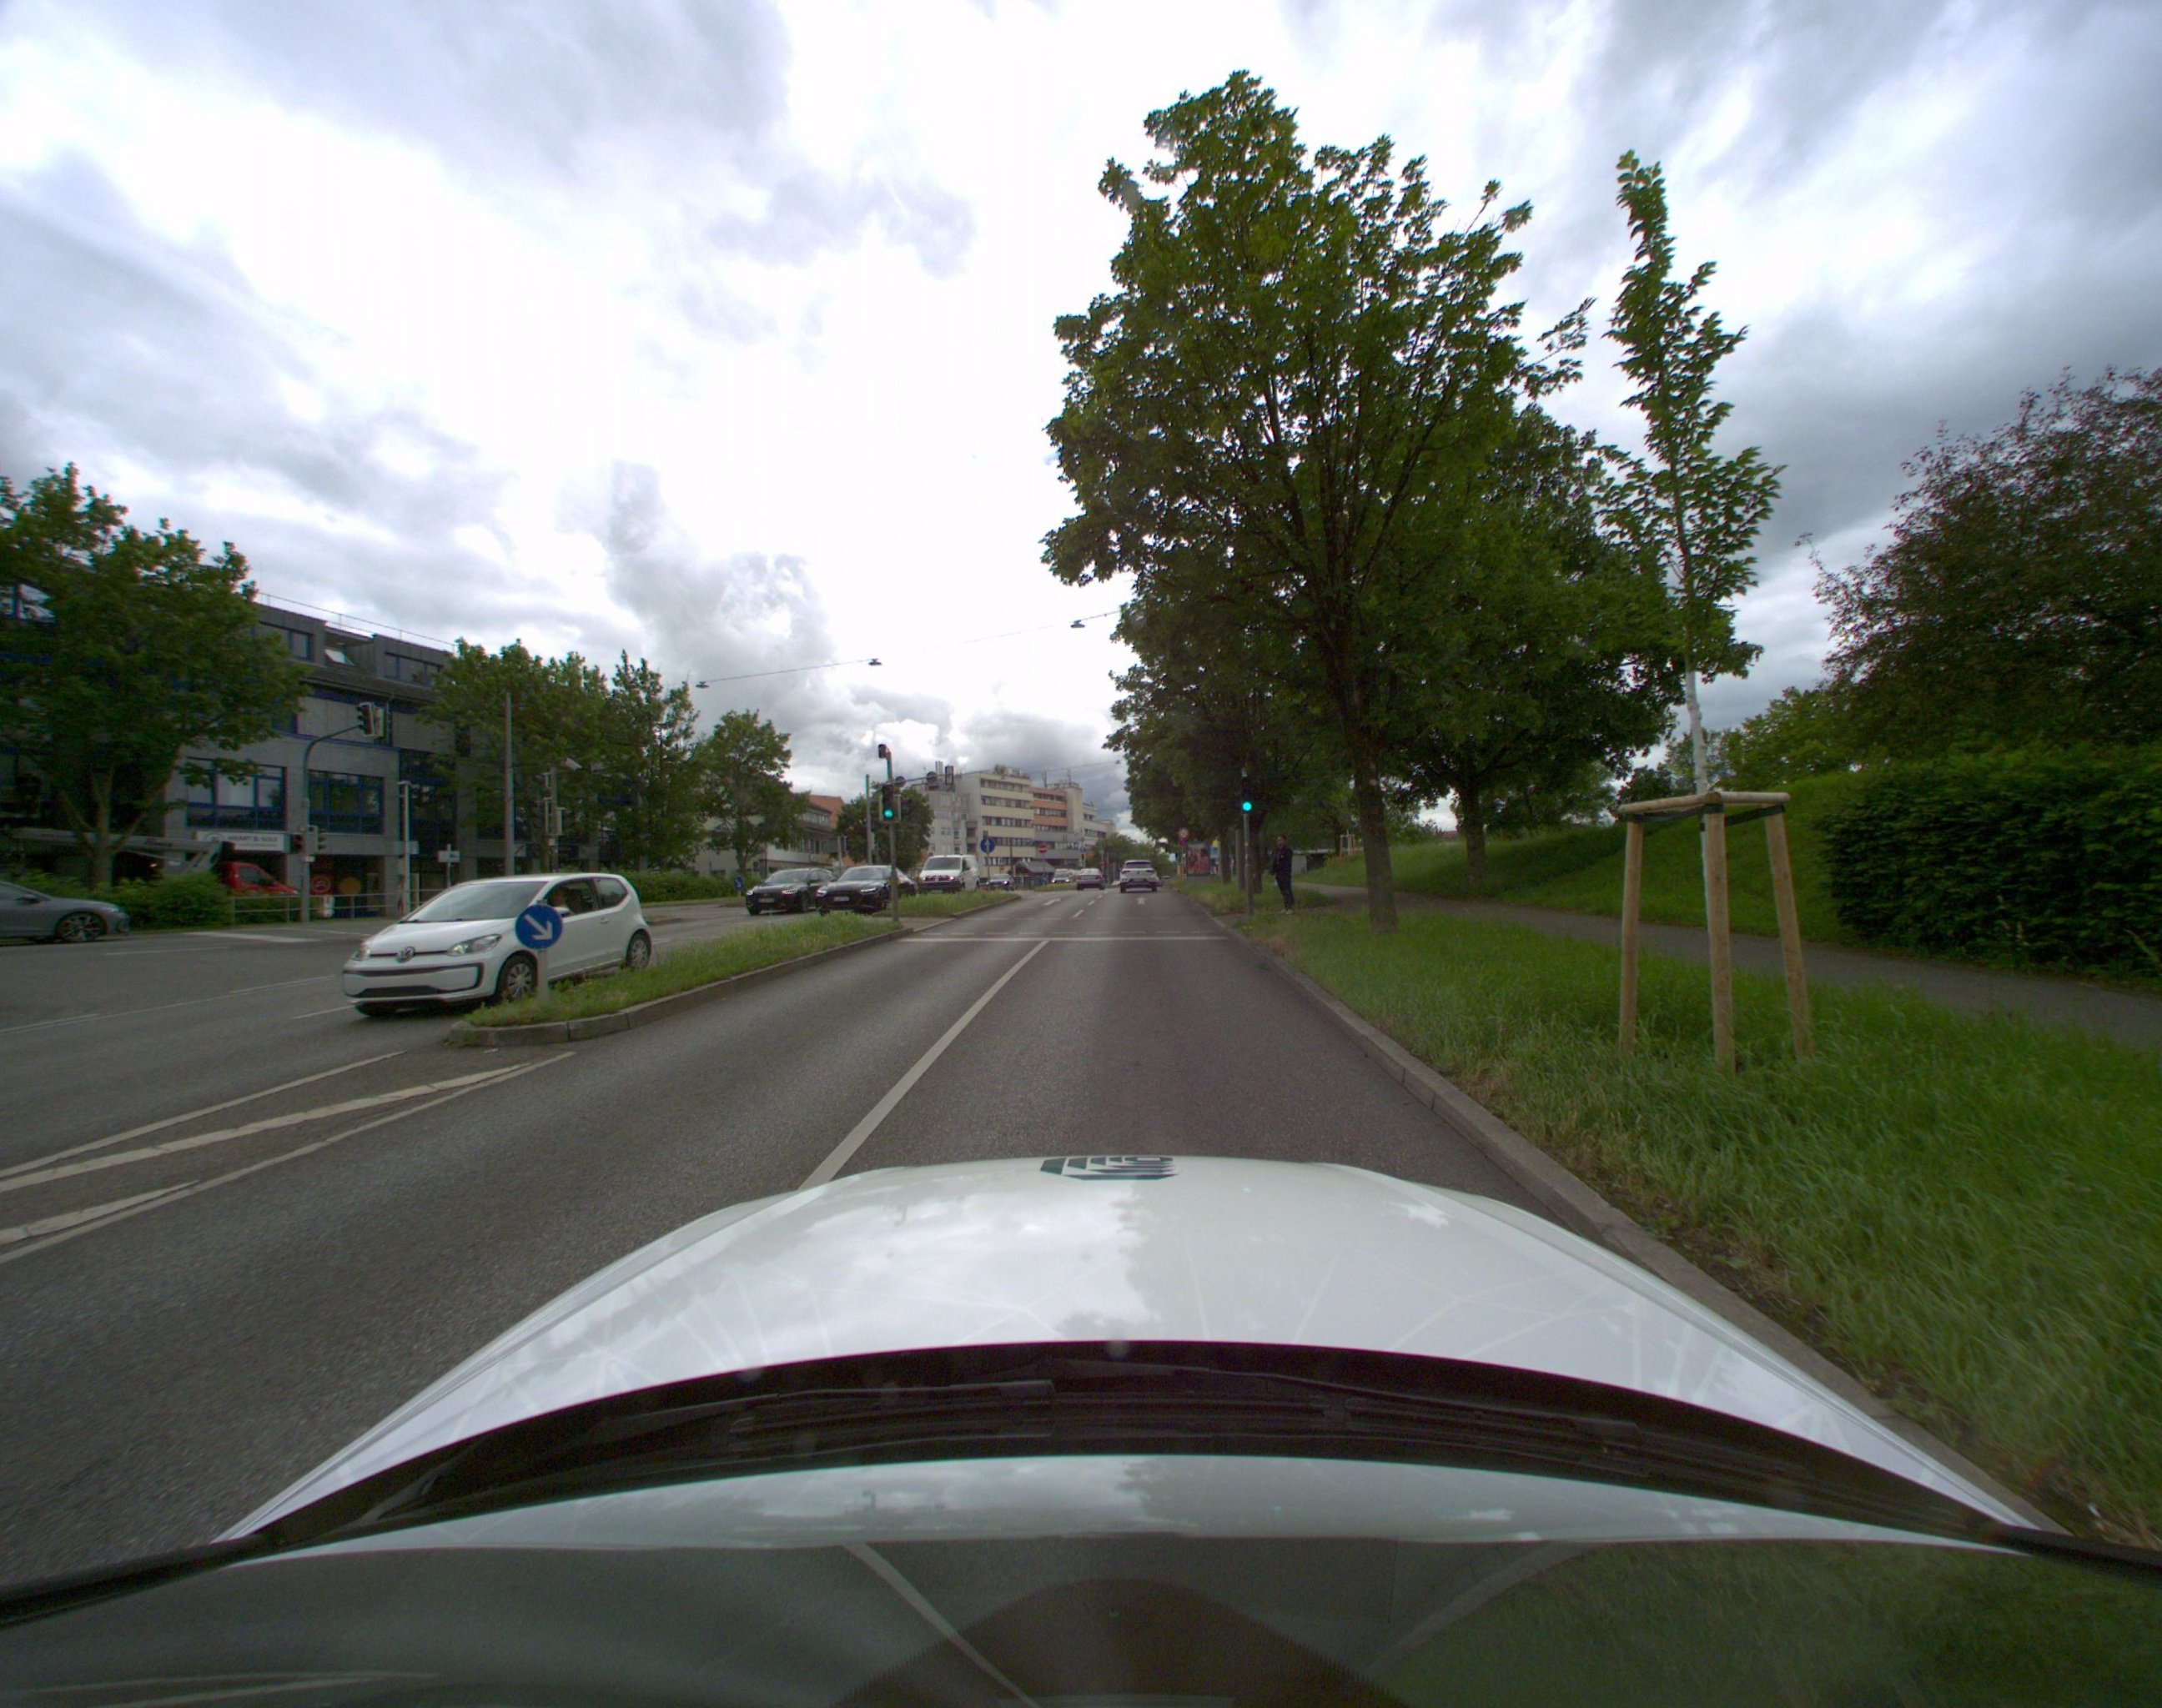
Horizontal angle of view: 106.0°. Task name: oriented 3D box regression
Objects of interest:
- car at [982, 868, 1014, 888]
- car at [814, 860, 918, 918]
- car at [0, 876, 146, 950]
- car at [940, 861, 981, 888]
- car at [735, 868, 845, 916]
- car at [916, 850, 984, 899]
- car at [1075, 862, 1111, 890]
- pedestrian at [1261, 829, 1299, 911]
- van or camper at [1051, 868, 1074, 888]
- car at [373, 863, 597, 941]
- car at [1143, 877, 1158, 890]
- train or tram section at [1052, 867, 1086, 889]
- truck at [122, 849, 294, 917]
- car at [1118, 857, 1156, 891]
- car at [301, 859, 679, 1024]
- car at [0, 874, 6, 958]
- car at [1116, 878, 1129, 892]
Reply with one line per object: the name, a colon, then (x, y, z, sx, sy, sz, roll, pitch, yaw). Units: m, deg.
car: (-6.695, 1.938, 66.277, 1.853, 1.428, 4.005, -2, -1, 4)
car: (-6.538, 1.011, 25.308, 1.770, 1.481, 4.484, -3, 0, 3)
car: (-22.518, 1.199, 16.417, 1.760, 1.463, 4.464, -1, -1, 22)
car: (-7.374, 1.268, 50.120, 1.738, 1.464, 4.001, -4, -1, 2)
car: (-9.504, 1.206, 26.972, 1.774, 1.379, 3.959, -1, 0, 7)
car: (-5.785, 0.870, 36.587, 1.827, 2.002, 4.864, -1, 0, 5)
car: (0.800, 1.380, 52.149, 1.689, 1.516, 3.747, -2, 1, 10)
pedestrian: (4.631, 0.367, 18.988, 0.640, 1.856, 0.672, -2, 0, -2)
van or camper: (-1.919, 2.487, 85.042, 1.918, 1.938, 5.251, -1, -2, 3)
car: (-14.225, 1.075, 19.605, 1.759, 1.544, 4.025, -2, 0, 41)
car: (9.514, 4.047, 111.923, 1.764, 1.570, 4.286, -3, 0, 1)
train or tram section: (-1.883, 4.014, 135.793, 2.542, 3.411, 13.123, -3, -3, 12)
truck: (-33.404, 1.028, 31.313, 1.976, 2.387, 4.022, -1, 1, 23)
car: (2.817, 0.944, 40.186, 1.691, 1.548, 3.743, 1, 1, 7)
car: (-6.967, 0.897, 10.242, 1.771, 1.565, 3.999, -2, 0, 0)
car: (-20.408, 1.061, 12.444, 1.760, 1.463, 4.464, -1, -1, 22)
car: (6.545, 4.840, 128.385, 1.984, 1.590, 4.843, -1, 4, 5)
